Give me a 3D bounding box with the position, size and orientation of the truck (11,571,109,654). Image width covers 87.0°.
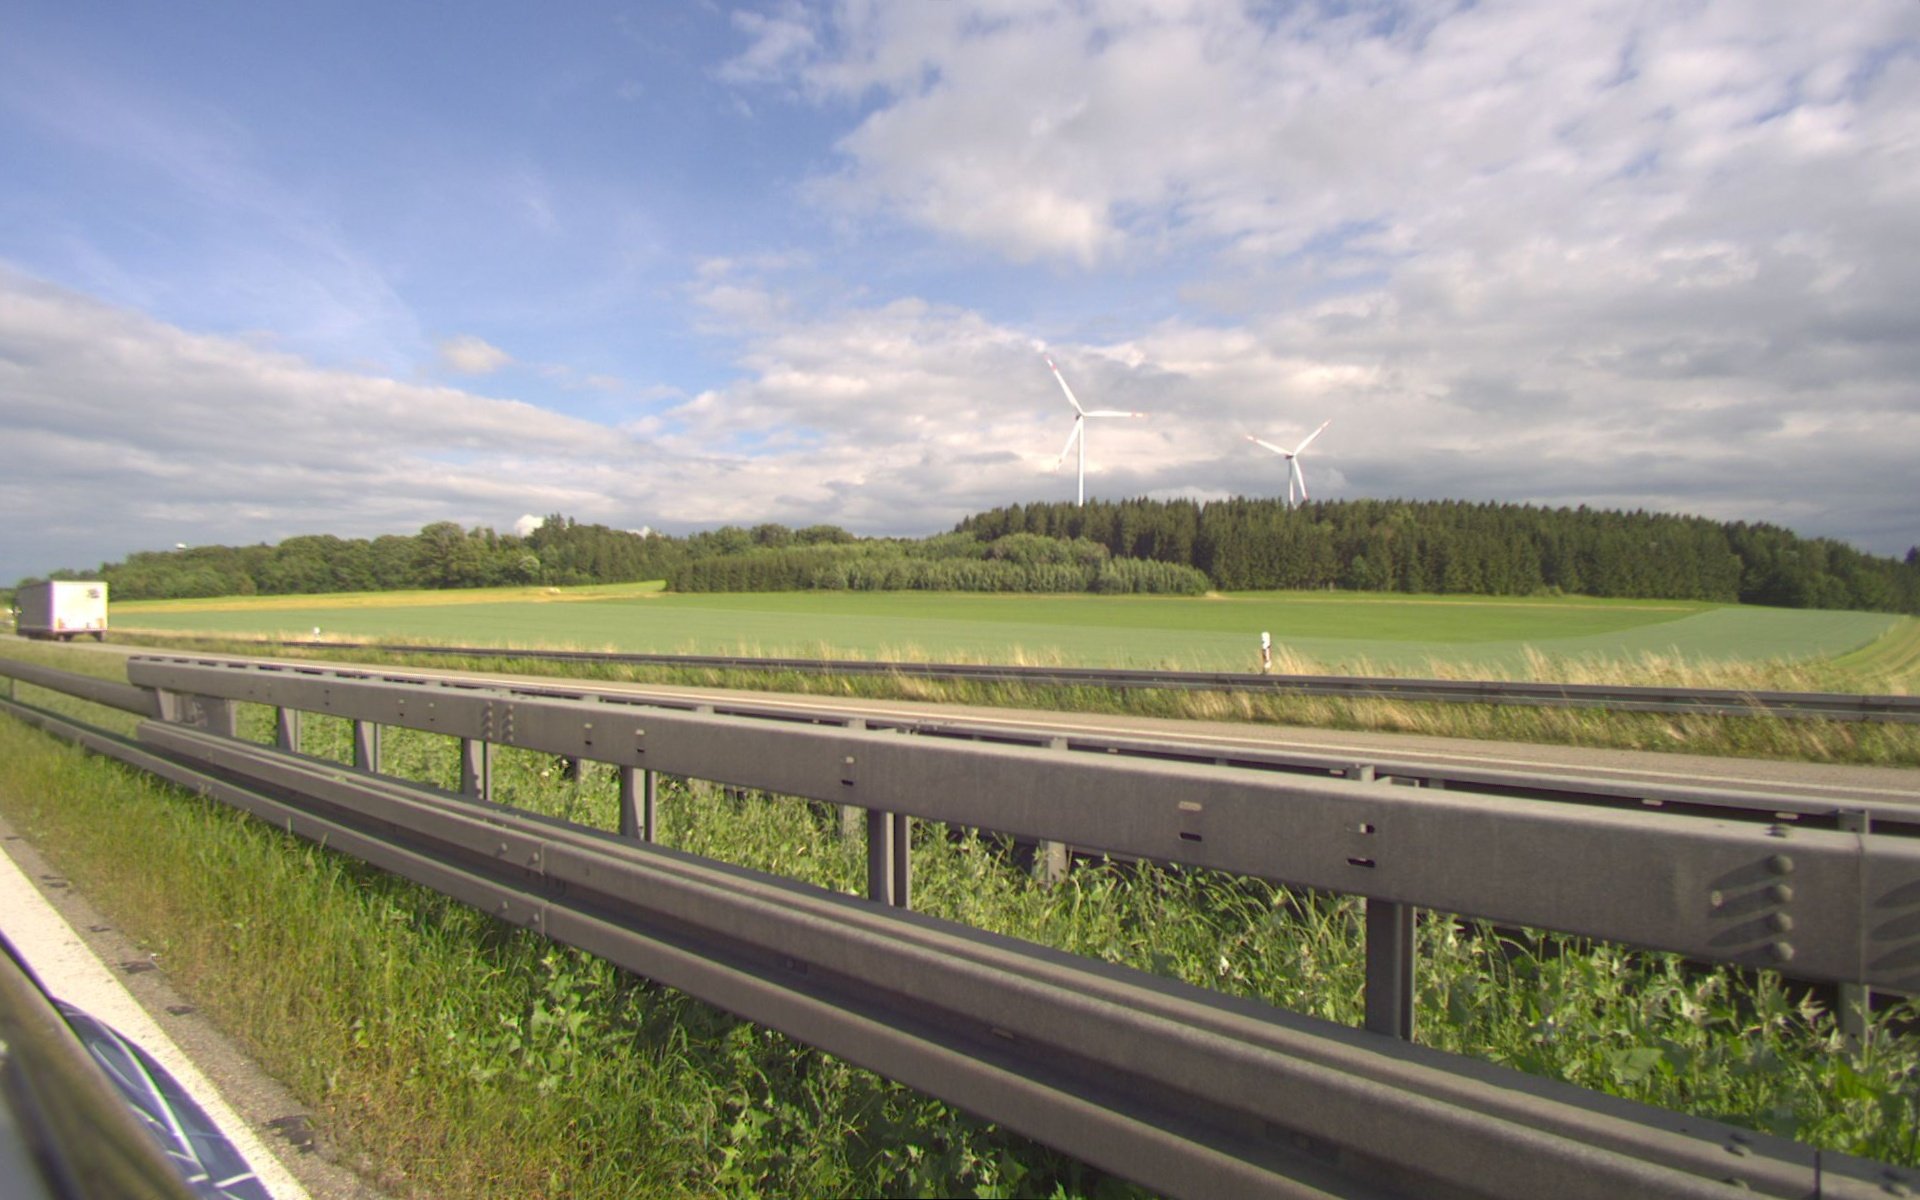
[{"bbox_3d":[-55.921,0.752,62.692,13.416,4.669,2.850,-1,0,41],"label":"truck"}]
